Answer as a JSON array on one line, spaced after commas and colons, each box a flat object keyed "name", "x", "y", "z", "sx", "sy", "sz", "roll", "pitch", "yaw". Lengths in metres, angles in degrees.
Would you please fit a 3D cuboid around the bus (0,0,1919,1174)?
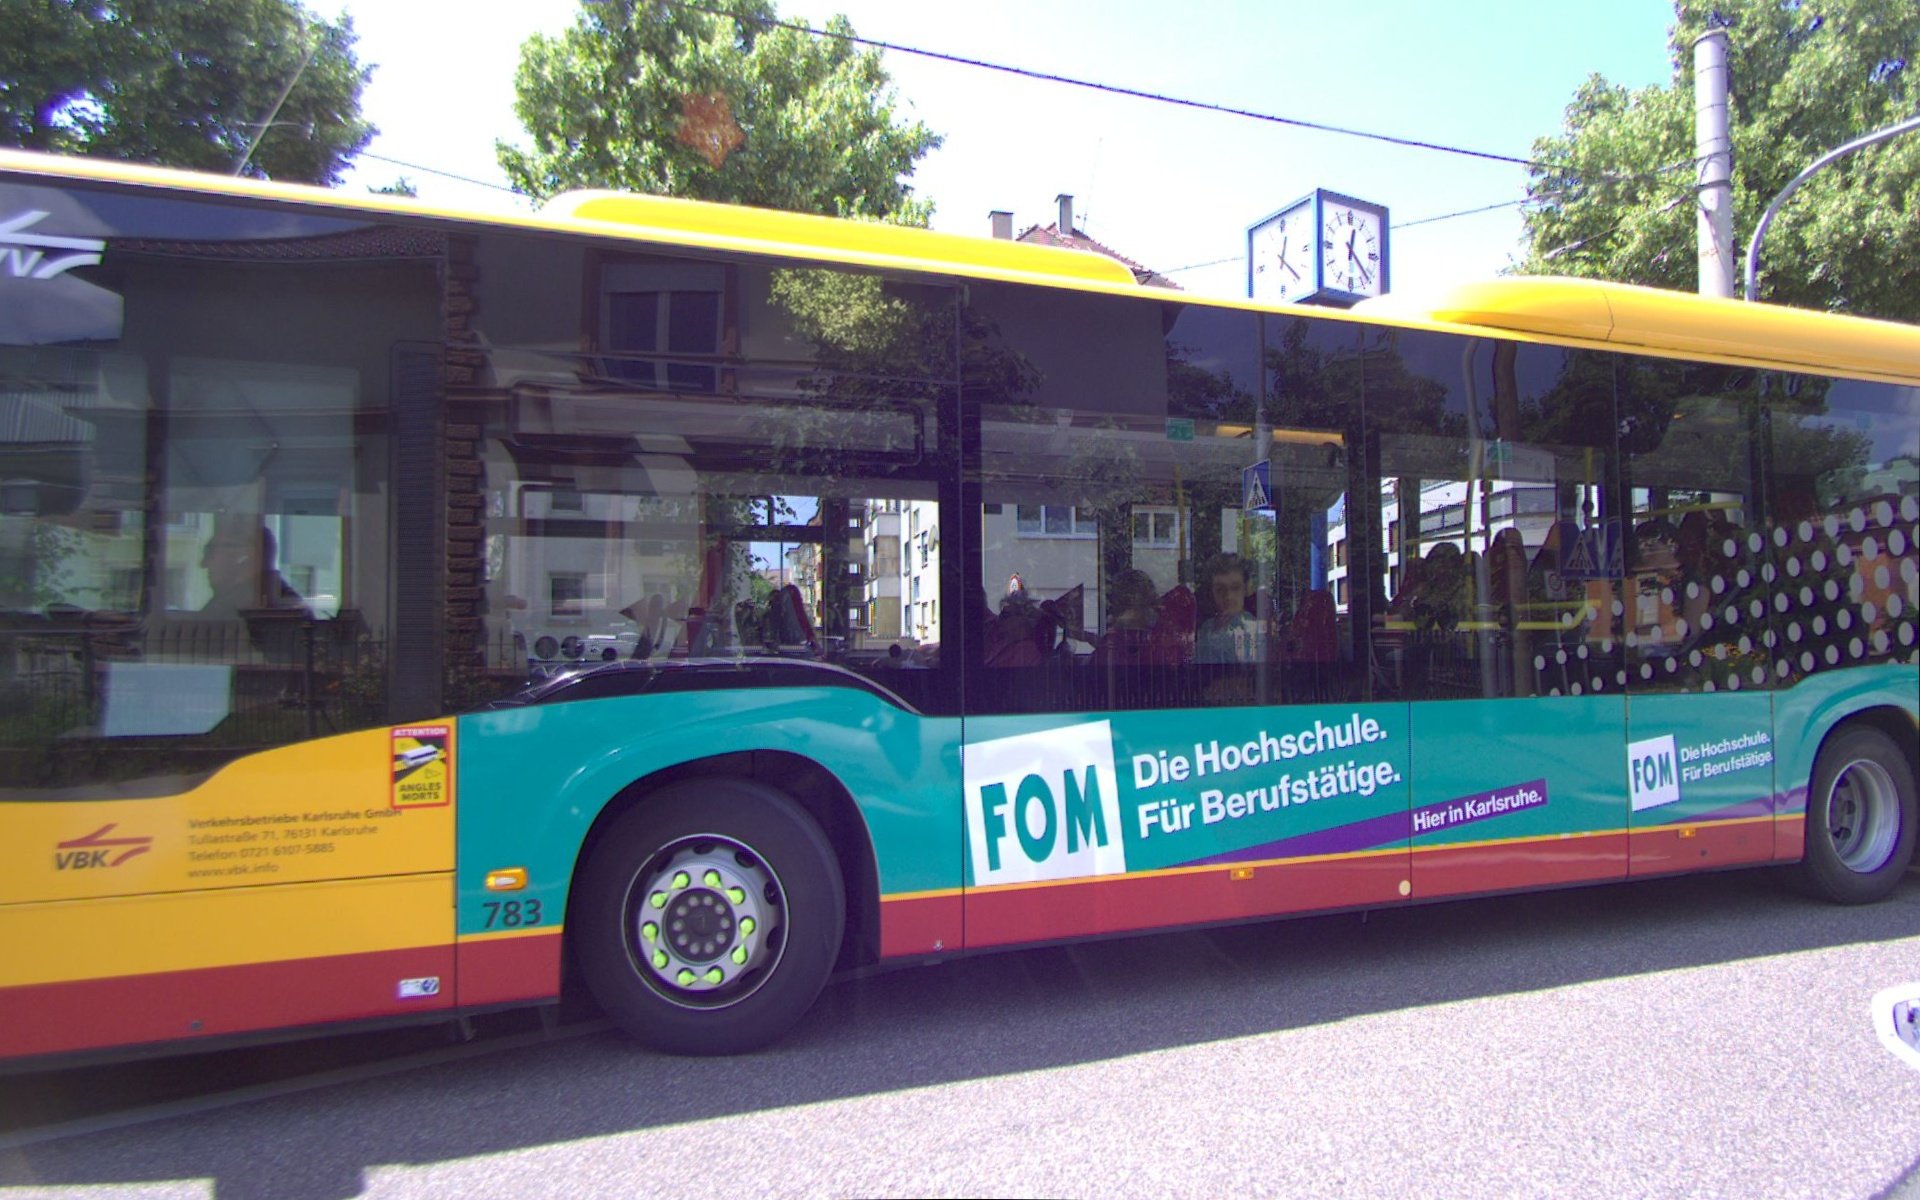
[{"name": "bus", "x": 1.803, "y": -0.091, "z": 5.581, "sx": 12.113, "sy": 3.251, "sz": 2.777, "roll": 0, "pitch": 0, "yaw": -19}]
